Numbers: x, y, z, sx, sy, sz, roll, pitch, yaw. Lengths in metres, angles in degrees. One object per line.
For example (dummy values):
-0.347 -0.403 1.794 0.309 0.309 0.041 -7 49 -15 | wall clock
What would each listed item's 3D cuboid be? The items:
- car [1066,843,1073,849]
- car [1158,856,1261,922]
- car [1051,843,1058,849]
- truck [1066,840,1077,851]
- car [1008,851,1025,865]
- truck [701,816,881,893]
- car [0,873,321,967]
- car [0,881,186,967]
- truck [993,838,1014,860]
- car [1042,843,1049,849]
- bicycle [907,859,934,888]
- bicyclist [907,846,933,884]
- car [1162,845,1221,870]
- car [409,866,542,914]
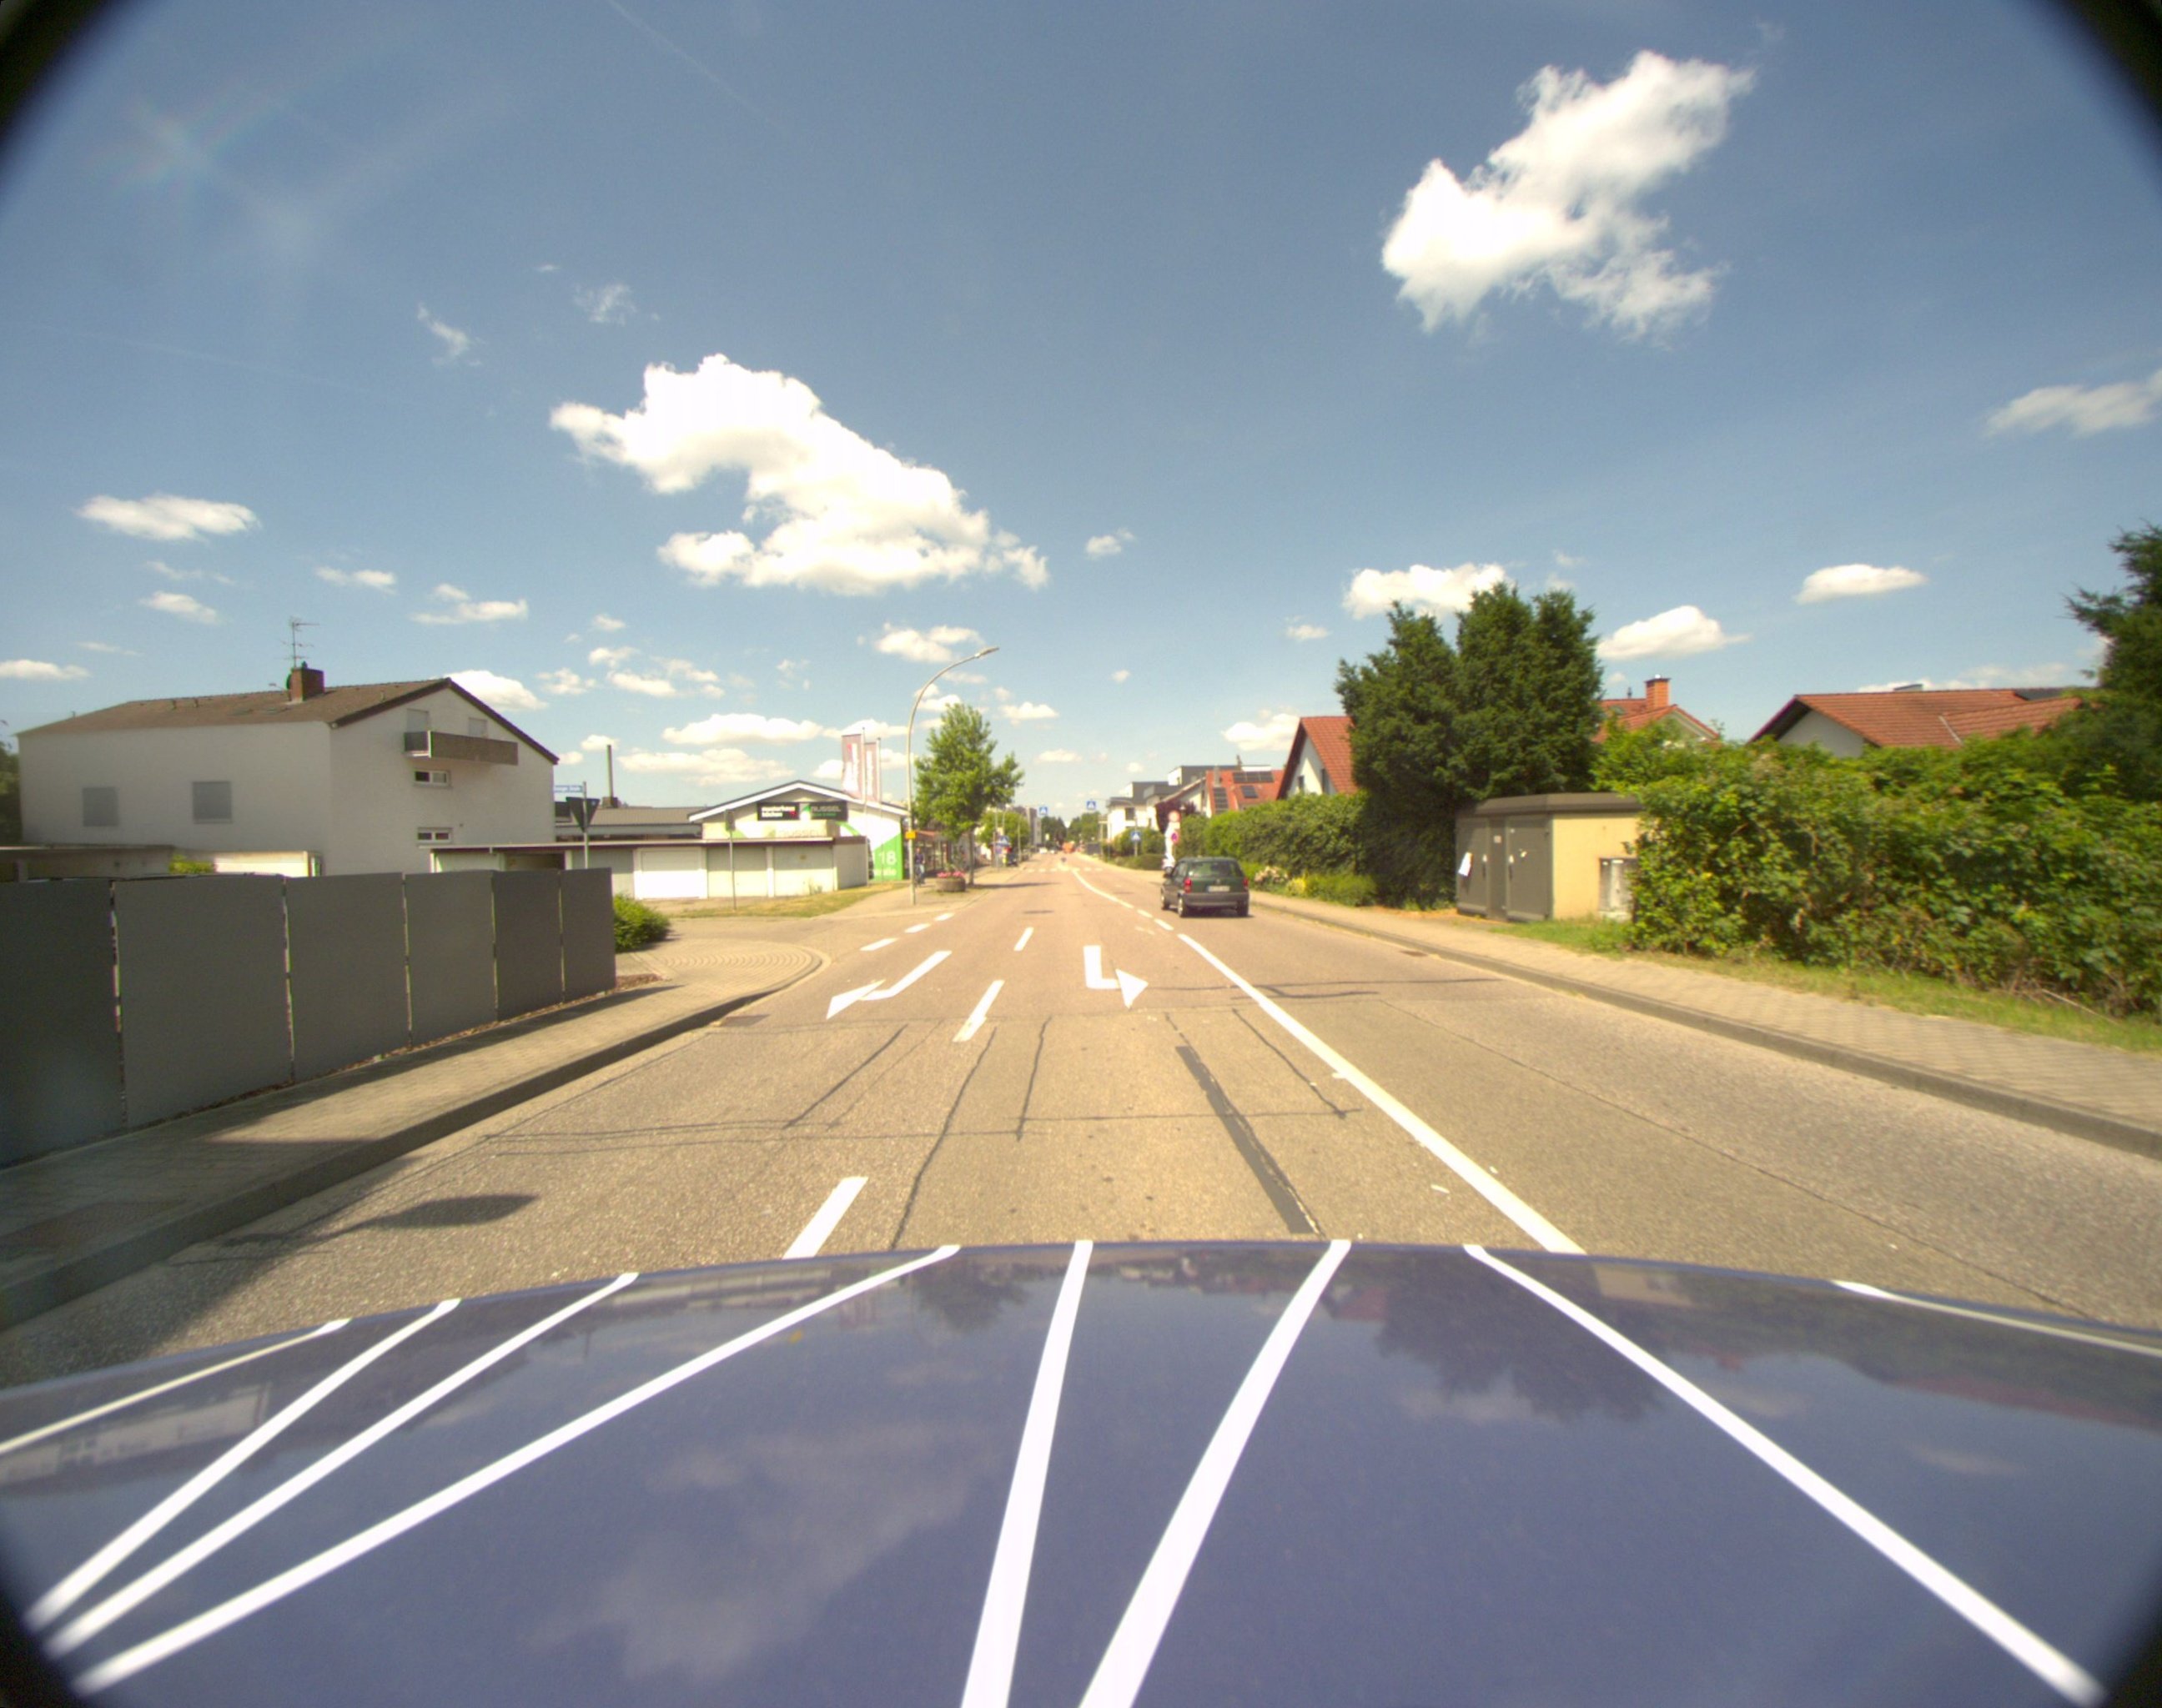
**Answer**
-2.879 -2.005 188.132 1.799 1.480 3.612 0 1 -2 | car
3.069 0.777 18.921 1.785 1.425 3.871 0 0 -2 | car
-6.396 -1.934 185.028 1.729 1.484 3.758 0 1 -2 | car
-2.620 -2.331 206.677 2.865 2.695 6.788 0 1 -2 | truck
-7.098 0.392 84.415 1.729 1.484 3.758 0 1 -2 | car
-14.968 -0.025 39.695 8.192 3.553 2.676 -2 2 -2 | truck
-18.758 1.245 15.742 1.741 1.638 4.216 -1 -1 1 | car
-21.383 1.381 15.470 1.741 1.577 3.854 -1 -1 1 | car
-10.169 -0.656 99.240 2.581 2.746 6.329 0 1 -8 | truck
-9.020 -2.058 195.284 1.729 1.484 3.759 0 1 -1 | car
-7.067 0.849 33.544 0.805 1.158 1.942 -5 0 -3 | bicycle
-7.096 0.478 33.484 0.805 1.620 1.111 -5 1 -3 | bicyclist
7.661 0.285 52.484 3.752 1.589 1.726 -2 -1 17 | car
-22.702 1.298 28.715 1.679 1.494 4.130 -2 1 0 | car
